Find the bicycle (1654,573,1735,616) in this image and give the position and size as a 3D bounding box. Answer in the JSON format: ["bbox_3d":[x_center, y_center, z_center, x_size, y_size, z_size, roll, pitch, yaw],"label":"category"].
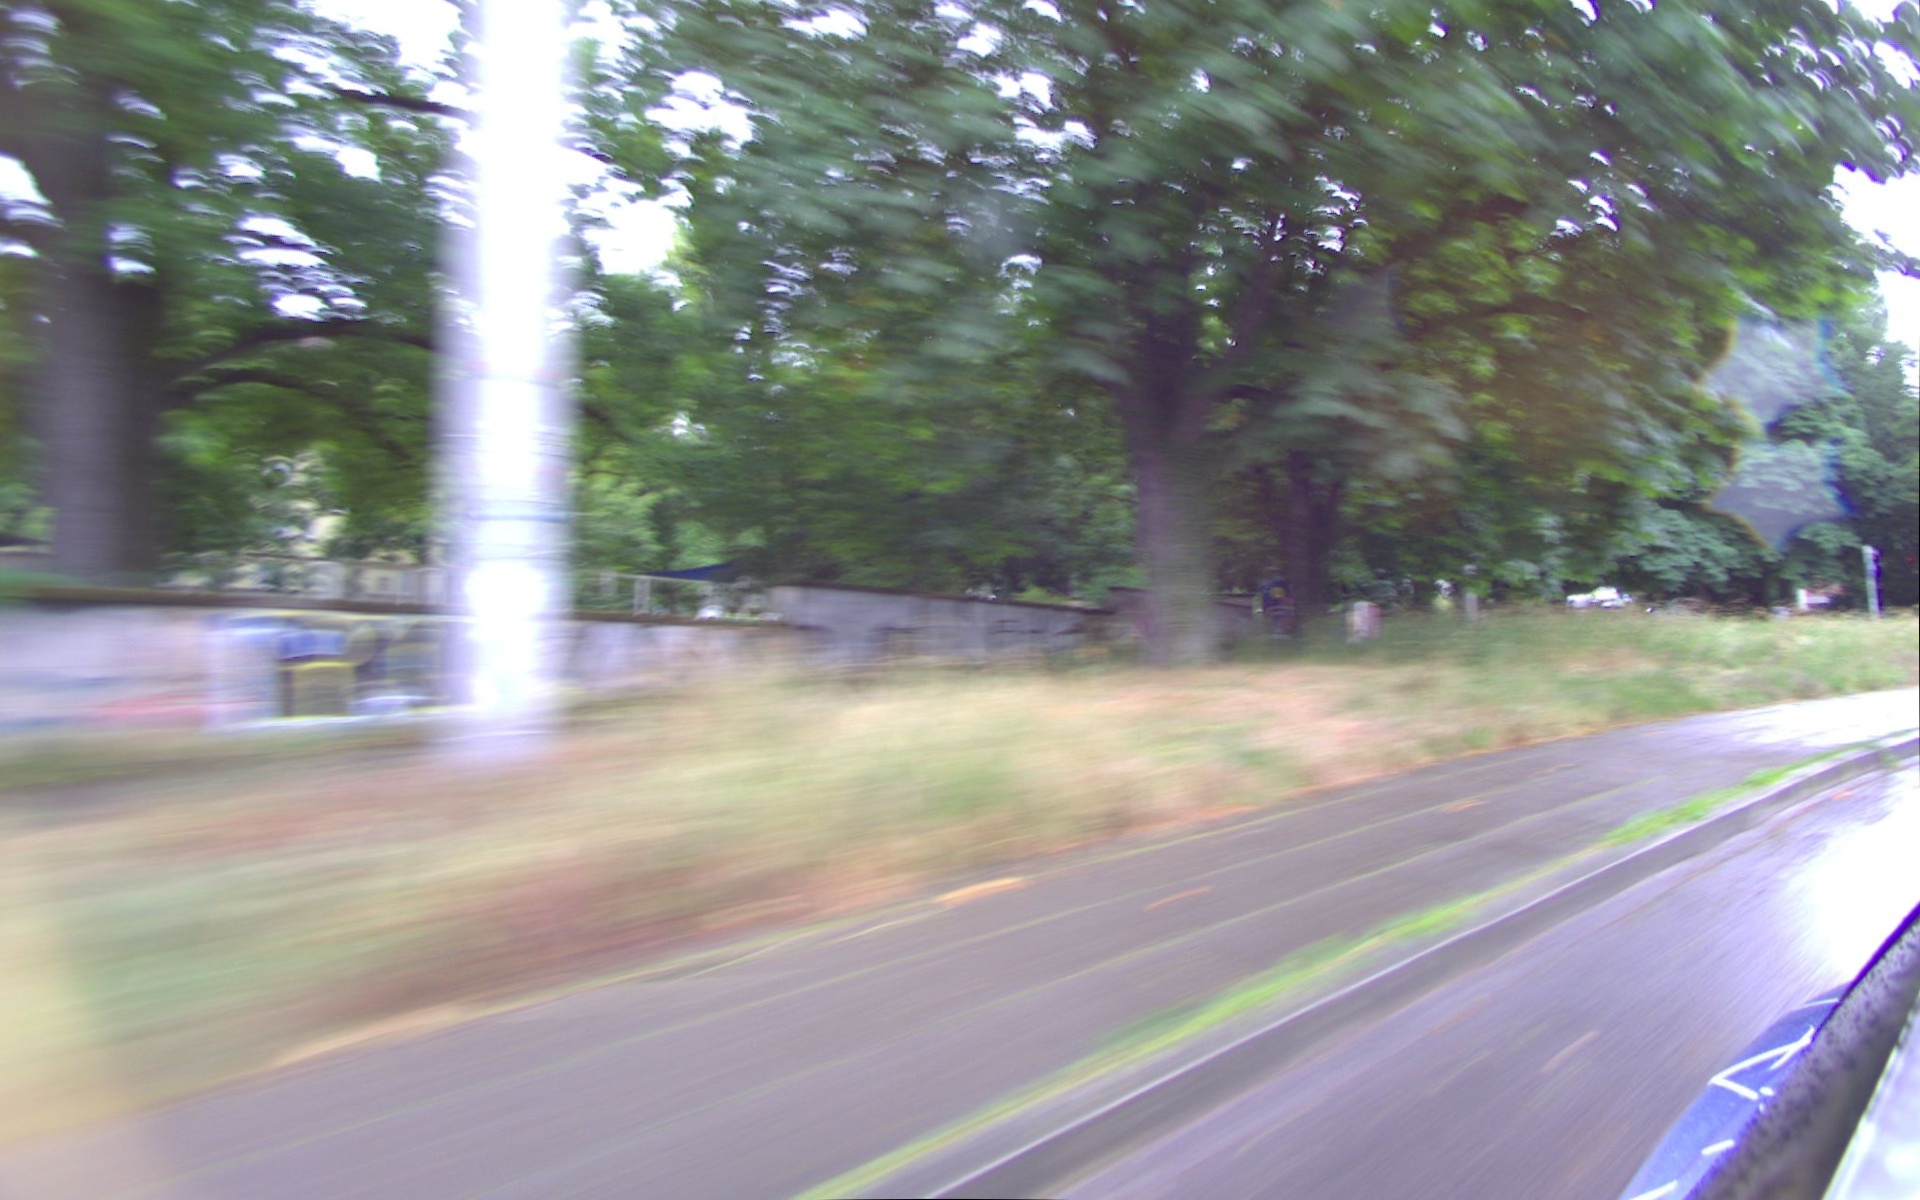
[{"bbox_3d":[20.326,-0.149,28.016,0.615,1.155,1.707,0,-1,-43],"label":"bicycle"}]

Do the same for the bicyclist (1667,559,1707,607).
[{"bbox_3d":[20.323,-0.465,28.301,0.585,1.311,0.798,2,-3,-44],"label":"bicyclist"}]
